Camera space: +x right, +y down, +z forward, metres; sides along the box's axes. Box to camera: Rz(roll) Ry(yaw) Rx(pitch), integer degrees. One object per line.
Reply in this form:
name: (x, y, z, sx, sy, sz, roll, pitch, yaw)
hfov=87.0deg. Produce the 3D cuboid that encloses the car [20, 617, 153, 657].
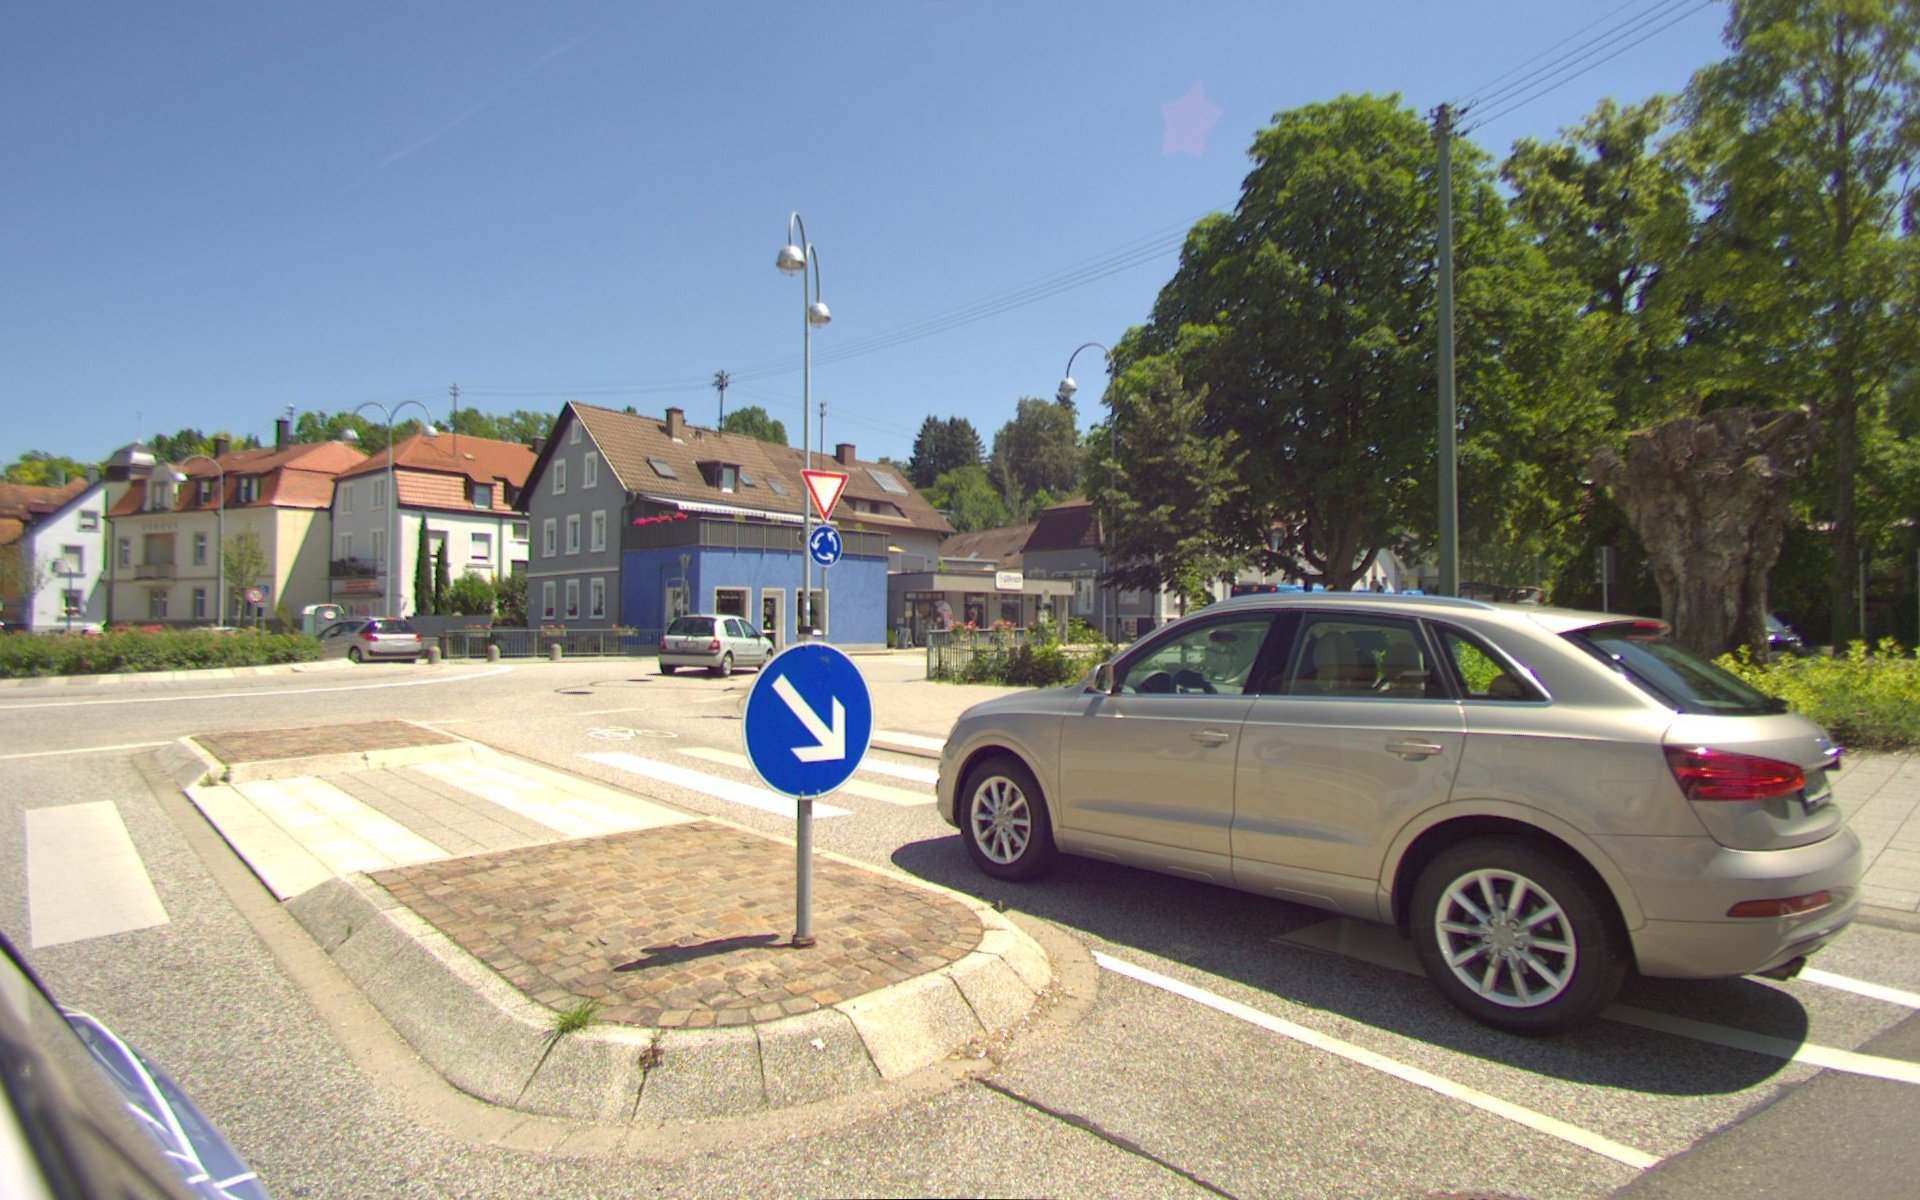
car: (-62.873, 2.605, 73.025, 2.375, 2.764, 6.958, -2, -2, 38)

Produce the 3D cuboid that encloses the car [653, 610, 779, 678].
car: (-5.693, 0.984, 24.019, 1.533, 1.423, 3.707, 2, -1, 10)

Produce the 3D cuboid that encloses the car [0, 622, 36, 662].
car: (-52.404, 2.243, 54.746, 3.972, 2.029, 1.986, 1, 0, 21)

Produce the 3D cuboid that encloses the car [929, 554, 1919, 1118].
car: (1.802, 0.720, 4.898, 1.654, 1.555, 4.089, 3, -3, -41)

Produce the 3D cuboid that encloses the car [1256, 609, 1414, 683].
car: (8.525, 1.032, 23.048, 3.051, 1.564, 1.615, -2, -2, 34)

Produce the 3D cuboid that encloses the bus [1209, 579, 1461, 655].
bus: (18.994, 0.818, 49.743, 17.789, 3.195, 3.724, 1, 0, -42)

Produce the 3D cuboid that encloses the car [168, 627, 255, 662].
car: (-32.687, 1.920, 44.174, 4.063, 1.402, 1.593, -1, 1, 31)

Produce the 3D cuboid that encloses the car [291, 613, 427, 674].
car: (-17.636, 1.287, 29.654, 4.195, 1.528, 1.726, -5, -3, 33)
